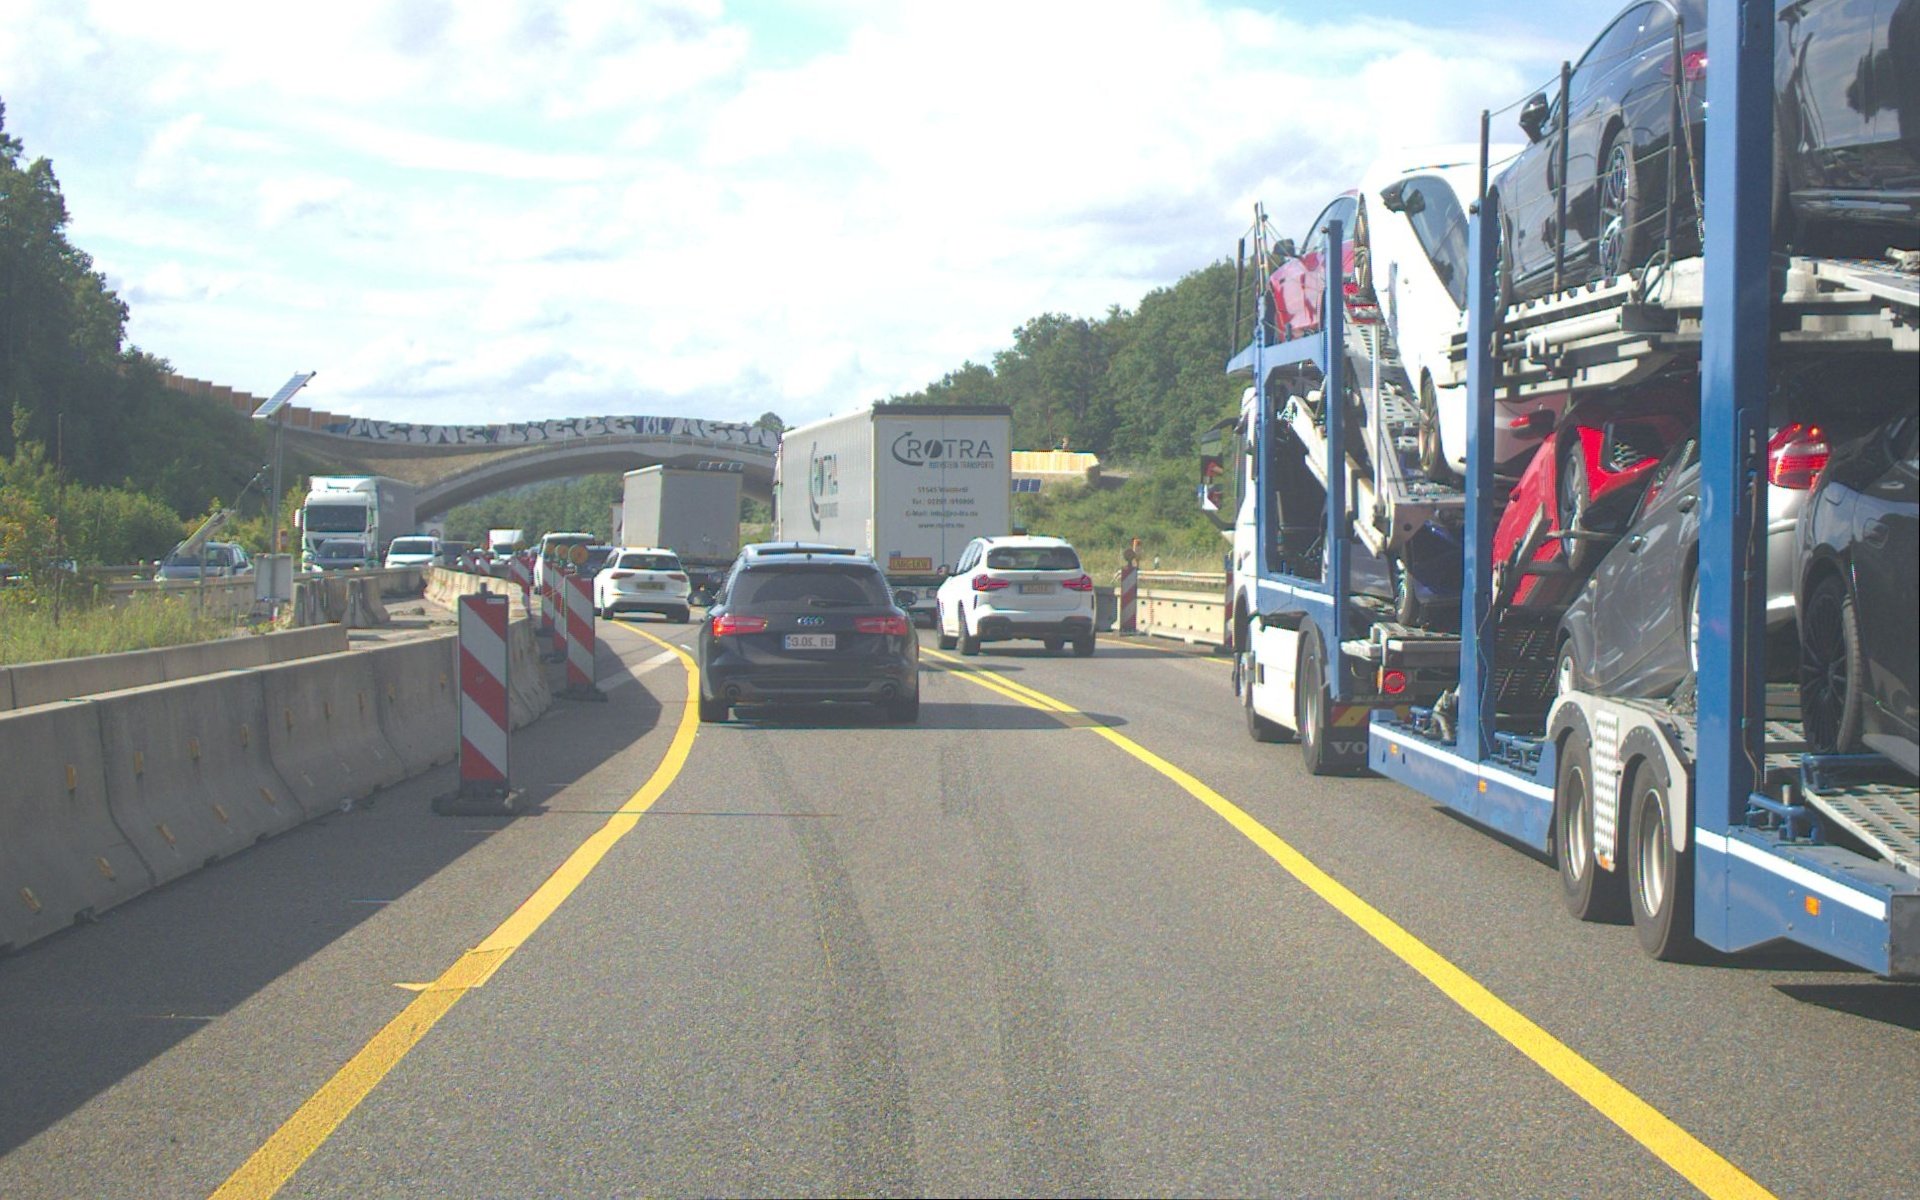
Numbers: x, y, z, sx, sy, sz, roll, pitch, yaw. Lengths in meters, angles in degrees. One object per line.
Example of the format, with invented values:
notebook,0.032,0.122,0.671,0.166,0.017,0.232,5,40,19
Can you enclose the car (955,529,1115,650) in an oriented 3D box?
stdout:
car,1.025,-0.175,49.013,1.890,1.637,4.018,1,1,-4

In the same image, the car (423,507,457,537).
car,-32.625,-4.877,215.775,1.780,1.860,4.001,1,1,-5

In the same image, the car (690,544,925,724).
car,-1.292,0.246,29.967,1.890,1.441,4.000,1,1,-1

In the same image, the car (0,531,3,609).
car,-20.370,-0.587,67.603,1.968,1.597,4.948,1,1,-3

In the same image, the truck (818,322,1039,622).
truck,-0.898,-2.433,69.842,3.677,5.335,16.204,1,1,-3

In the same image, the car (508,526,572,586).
car,-14.477,-1.531,118.368,1.993,2.007,4.001,1,1,-10

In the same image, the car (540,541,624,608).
car,-9.522,-0.659,86.429,1.890,1.637,4.019,1,1,-9

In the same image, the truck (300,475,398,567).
truck,-22.397,-2.888,126.291,2.756,3.287,5.814,1,1,-2

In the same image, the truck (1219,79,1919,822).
truck,3.983,-0.909,23.536,3.761,4.182,7.951,1,1,0

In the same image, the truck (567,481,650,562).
truck,-17.845,-3.936,173.873,3.653,3.915,11.070,1,1,-8

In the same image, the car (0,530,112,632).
car,-15.485,-0.343,56.466,1.968,1.597,4.948,1,1,-1

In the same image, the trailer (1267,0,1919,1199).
trailer,4.010,-0.782,15.628,3.726,4.182,16.228,1,1,0

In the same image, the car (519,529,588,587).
car,-11.889,-1.223,100.453,1.890,1.637,4.019,1,1,-8

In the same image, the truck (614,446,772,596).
truck,-8.837,-2.554,112.296,4.318,4.584,11.128,1,1,-8

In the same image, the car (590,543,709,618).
car,-6.269,-0.406,69.039,1.890,1.441,4.001,1,1,-12
